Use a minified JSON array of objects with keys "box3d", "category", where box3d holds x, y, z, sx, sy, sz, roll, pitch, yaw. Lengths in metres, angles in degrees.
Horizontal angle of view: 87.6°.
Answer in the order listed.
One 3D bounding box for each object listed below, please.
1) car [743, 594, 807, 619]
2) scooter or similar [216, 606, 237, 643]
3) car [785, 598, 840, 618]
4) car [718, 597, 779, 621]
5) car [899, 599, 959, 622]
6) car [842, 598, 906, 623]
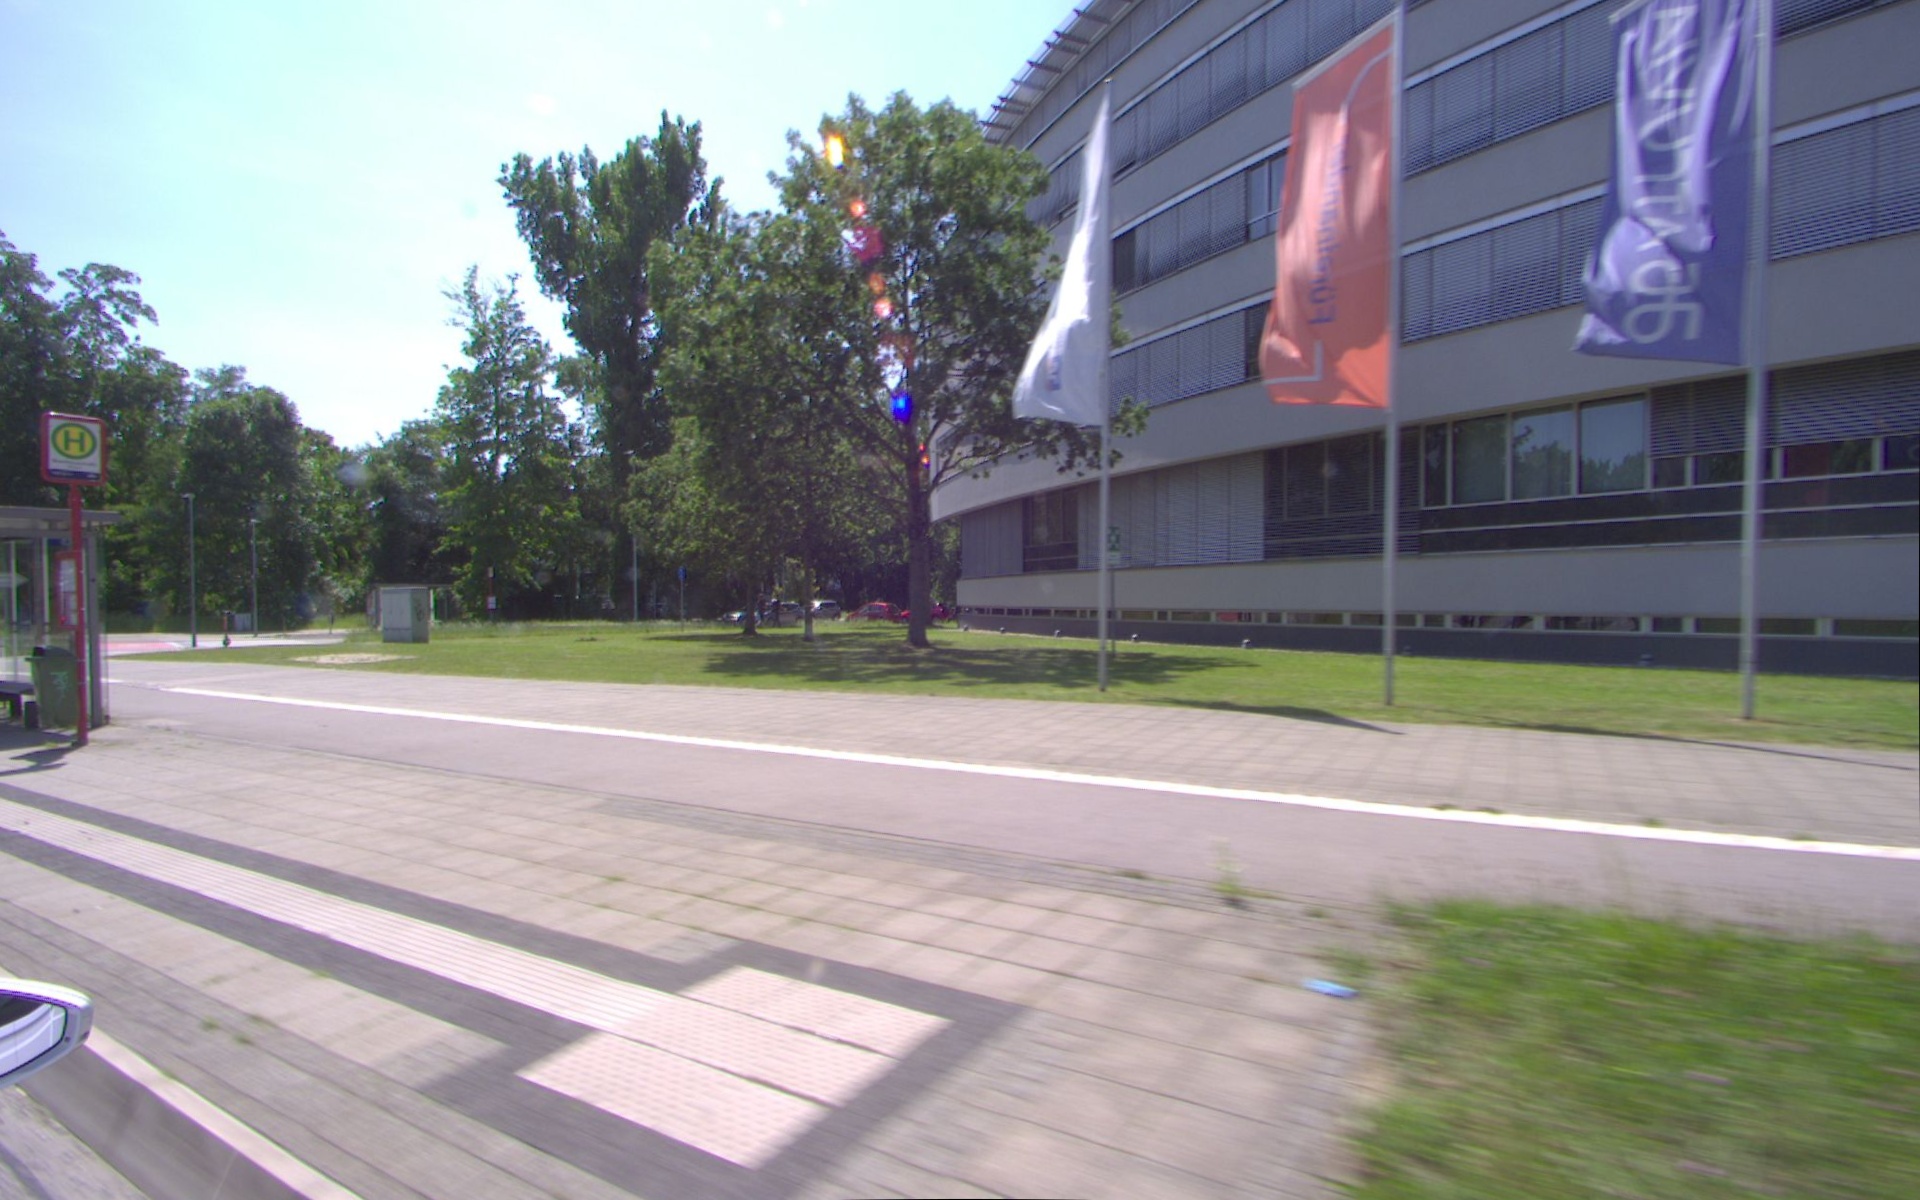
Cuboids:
[{"box3d":[-12.314,0.467,66.765,1.768,1.627,4.098,0,-1,39],"category":"car"},{"box3d":[-24.844,0.817,33.916,0.442,1.217,1.391,0,0,-31],"category":"scooter or similar"},{"box3d":[-10.819,0.608,73.723,1.861,1.434,3.765,0,-1,39],"category":"car"},{"box3d":[-14.455,0.616,68.680,1.680,1.506,3.975,3,1,36],"category":"car"},{"box3d":[-2.084,0.729,66.746,3.632,1.502,1.859,0,-1,32],"category":"car"},{"box3d":[-5.414,0.658,63.016,3.632,1.502,1.859,0,-1,32],"category":"car"}]
